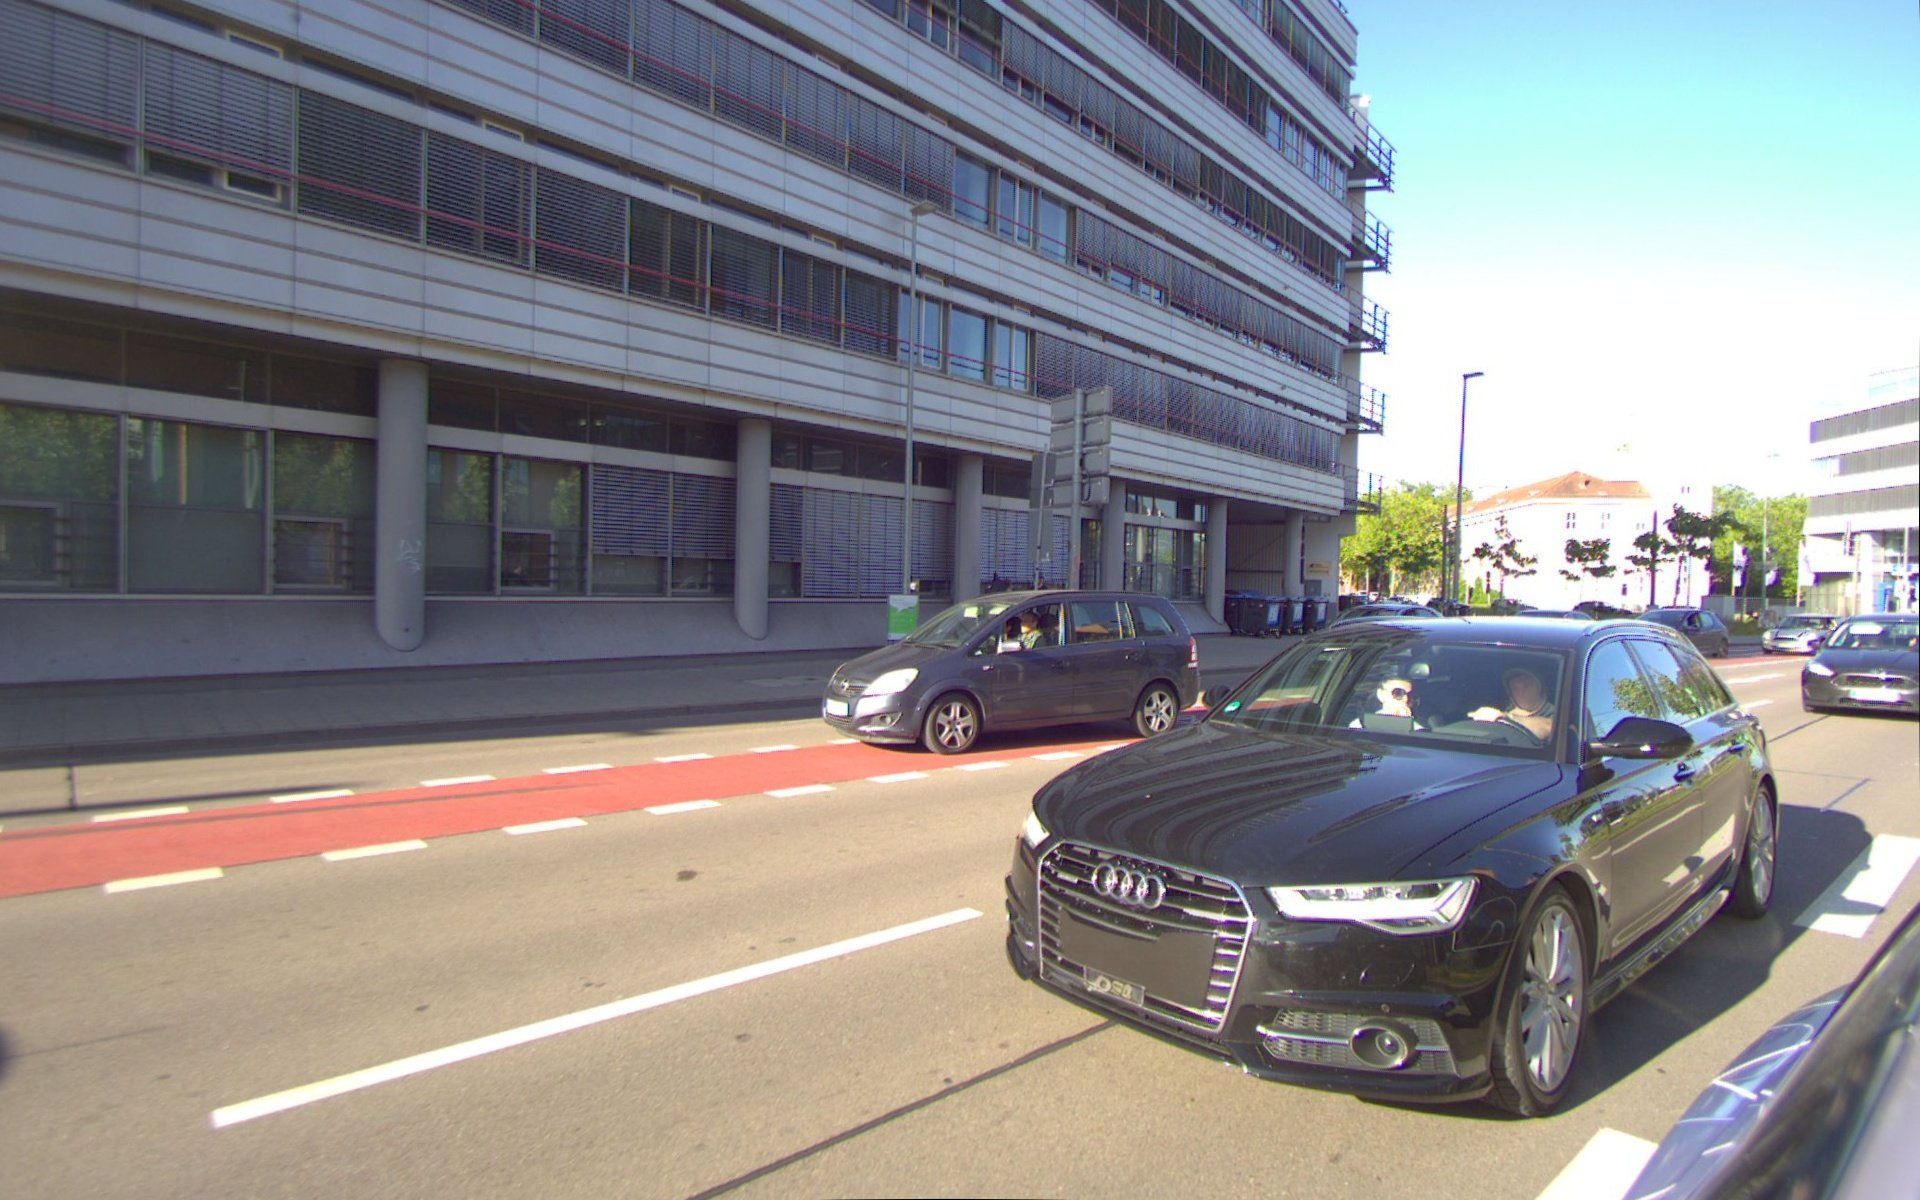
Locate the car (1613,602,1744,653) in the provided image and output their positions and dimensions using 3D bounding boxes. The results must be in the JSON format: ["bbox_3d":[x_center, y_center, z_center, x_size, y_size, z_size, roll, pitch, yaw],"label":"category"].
[{"bbox_3d":[21.863,0.796,30.772,3.919,1.464,1.739,1,-1,-29],"label":"car"}]

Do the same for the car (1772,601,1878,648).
[{"bbox_3d":[29.592,0.850,34.594,3.919,1.463,1.442,2,1,-29],"label":"car"}]

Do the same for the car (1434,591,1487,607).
[{"bbox_3d":[49.243,-0.071,99.672,1.958,1.440,4.536,1,1,-22],"label":"car"}]

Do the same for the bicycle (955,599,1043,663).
[{"bbox_3d":[0.723,0.535,18.451,1.672,1.070,0.505,-1,4,-41],"label":"bicycle"}]

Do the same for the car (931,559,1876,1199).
[{"bbox_3d":[2.197,0.681,4.406,4.412,1.511,1.816,0,-1,-37],"label":"car"}]

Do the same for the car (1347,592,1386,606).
[{"bbox_3d":[45.081,-0.113,112.363,1.894,1.393,4.009,1,1,-16],"label":"car"}]

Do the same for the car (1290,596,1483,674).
[{"bbox_3d":[9.081,0.677,21.420,4.405,1.449,1.756,0,1,-37],"label":"car"}]

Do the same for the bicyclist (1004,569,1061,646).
[{"bbox_3d":[1.541,0.152,21.414,1.024,1.586,0.626,0,1,-36],"label":"bicyclist"}]

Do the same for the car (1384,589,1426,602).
[{"bbox_3d":[46.787,-0.531,106.488,1.958,1.259,4.009,1,1,-16],"label":"car"}]

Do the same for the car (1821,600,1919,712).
[{"bbox_3d":[14.069,0.753,14.834,4.082,1.451,1.688,0,1,-42],"label":"car"}]

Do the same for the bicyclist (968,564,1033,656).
[{"bbox_3d":[0.744,0.170,18.605,0.974,1.638,0.685,1,1,-40],"label":"bicyclist"}]

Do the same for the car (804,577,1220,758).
[{"bbox_3d":[0.655,0.615,11.165,4.374,1.649,1.695,0,1,-31],"label":"car"}]

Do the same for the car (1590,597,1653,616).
[{"bbox_3d":[55.714,0.525,85.342,1.958,1.440,4.008,1,1,-22],"label":"car"}]

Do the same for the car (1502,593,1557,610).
[{"bbox_3d":[52.109,0.083,92.702,1.958,1.440,4.008,1,1,-22],"label":"car"}]

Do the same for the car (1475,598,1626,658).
[{"bbox_3d":[15.427,0.730,26.395,4.030,1.460,1.716,1,-2,-32],"label":"car"}]

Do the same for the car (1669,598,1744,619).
[{"bbox_3d":[58.020,0.662,78.737,1.958,1.440,4.304,1,1,-22],"label":"car"}]
